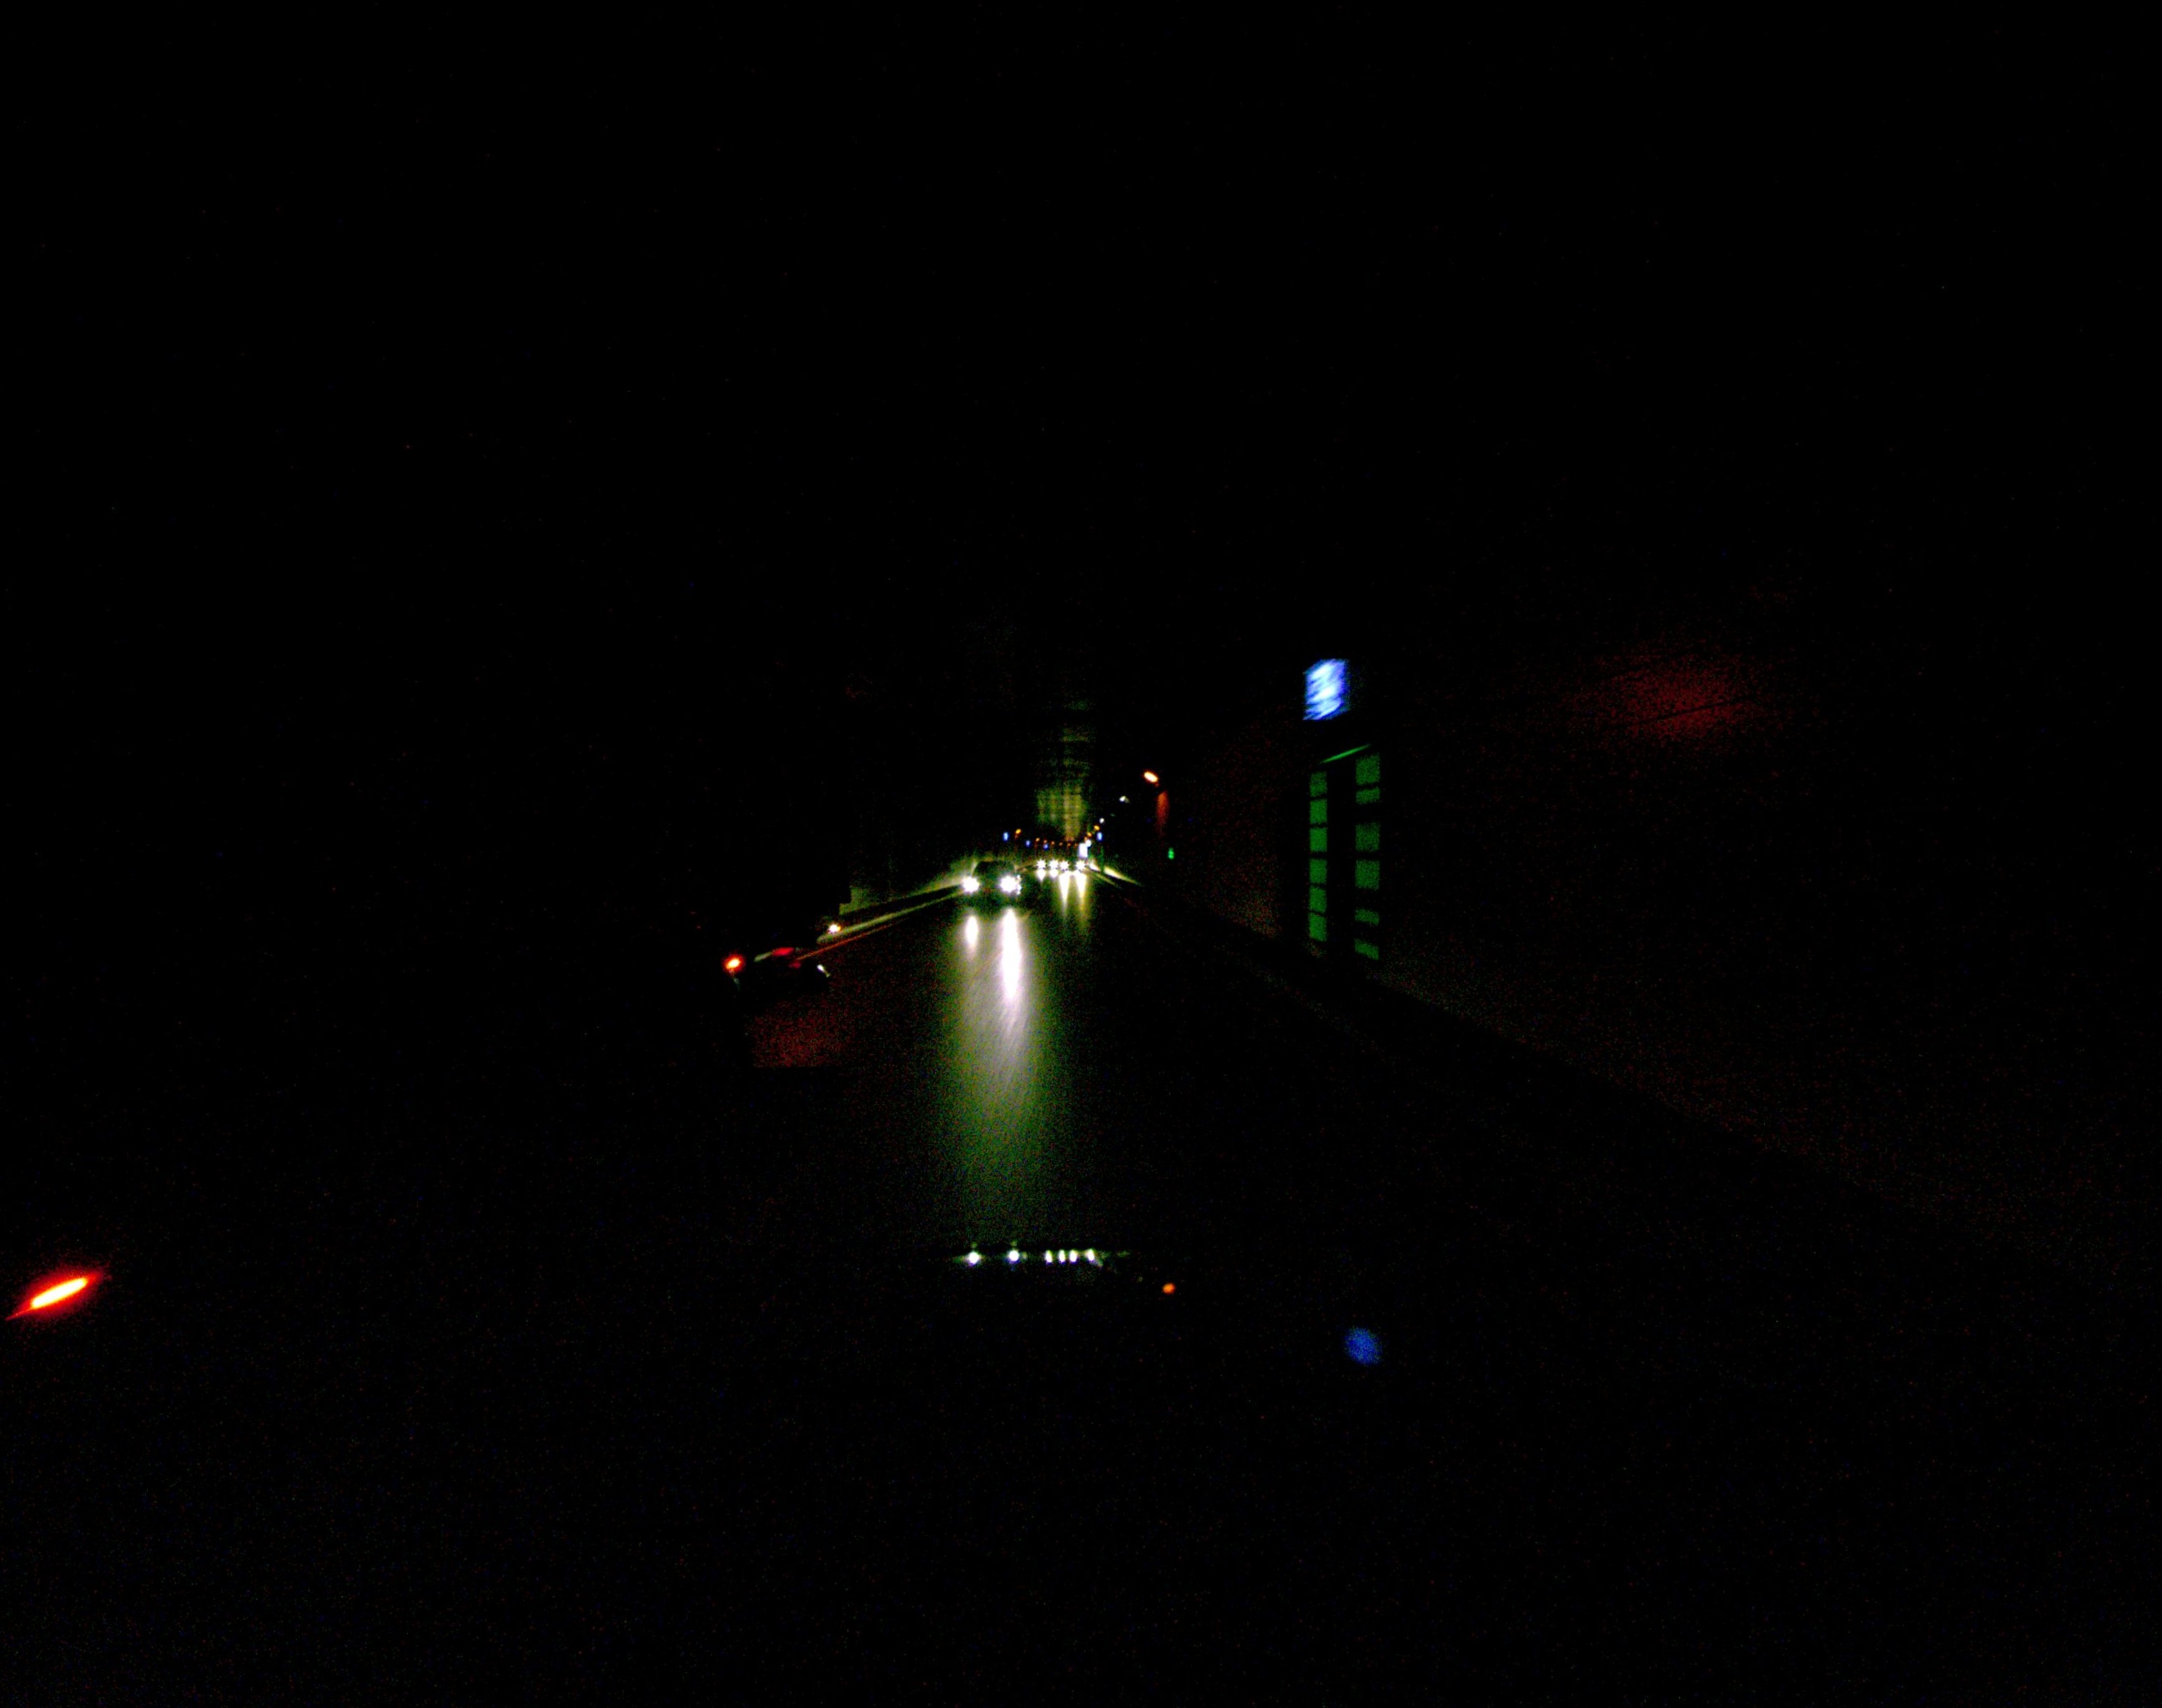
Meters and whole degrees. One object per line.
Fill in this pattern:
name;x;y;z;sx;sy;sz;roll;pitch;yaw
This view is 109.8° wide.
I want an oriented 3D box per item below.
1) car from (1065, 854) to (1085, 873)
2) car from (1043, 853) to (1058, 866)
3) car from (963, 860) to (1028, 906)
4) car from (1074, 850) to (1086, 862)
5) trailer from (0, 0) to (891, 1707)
car;-0.542;0.858;71.155;1.820;1.589;4.000;2;0;1
car;-3.816;0.719;94.389;1.736;1.565;3.999;-1;0;-1
car;-2.931;0.951;26.758;1.735;1.395;3.798;-2;1;1
car;-0.179;0.268;112.944;1.715;1.729;3.998;0;2;-1
trailer;-3.220;-0.265;2.153;2.882;3.836;8.948;0;0;1
